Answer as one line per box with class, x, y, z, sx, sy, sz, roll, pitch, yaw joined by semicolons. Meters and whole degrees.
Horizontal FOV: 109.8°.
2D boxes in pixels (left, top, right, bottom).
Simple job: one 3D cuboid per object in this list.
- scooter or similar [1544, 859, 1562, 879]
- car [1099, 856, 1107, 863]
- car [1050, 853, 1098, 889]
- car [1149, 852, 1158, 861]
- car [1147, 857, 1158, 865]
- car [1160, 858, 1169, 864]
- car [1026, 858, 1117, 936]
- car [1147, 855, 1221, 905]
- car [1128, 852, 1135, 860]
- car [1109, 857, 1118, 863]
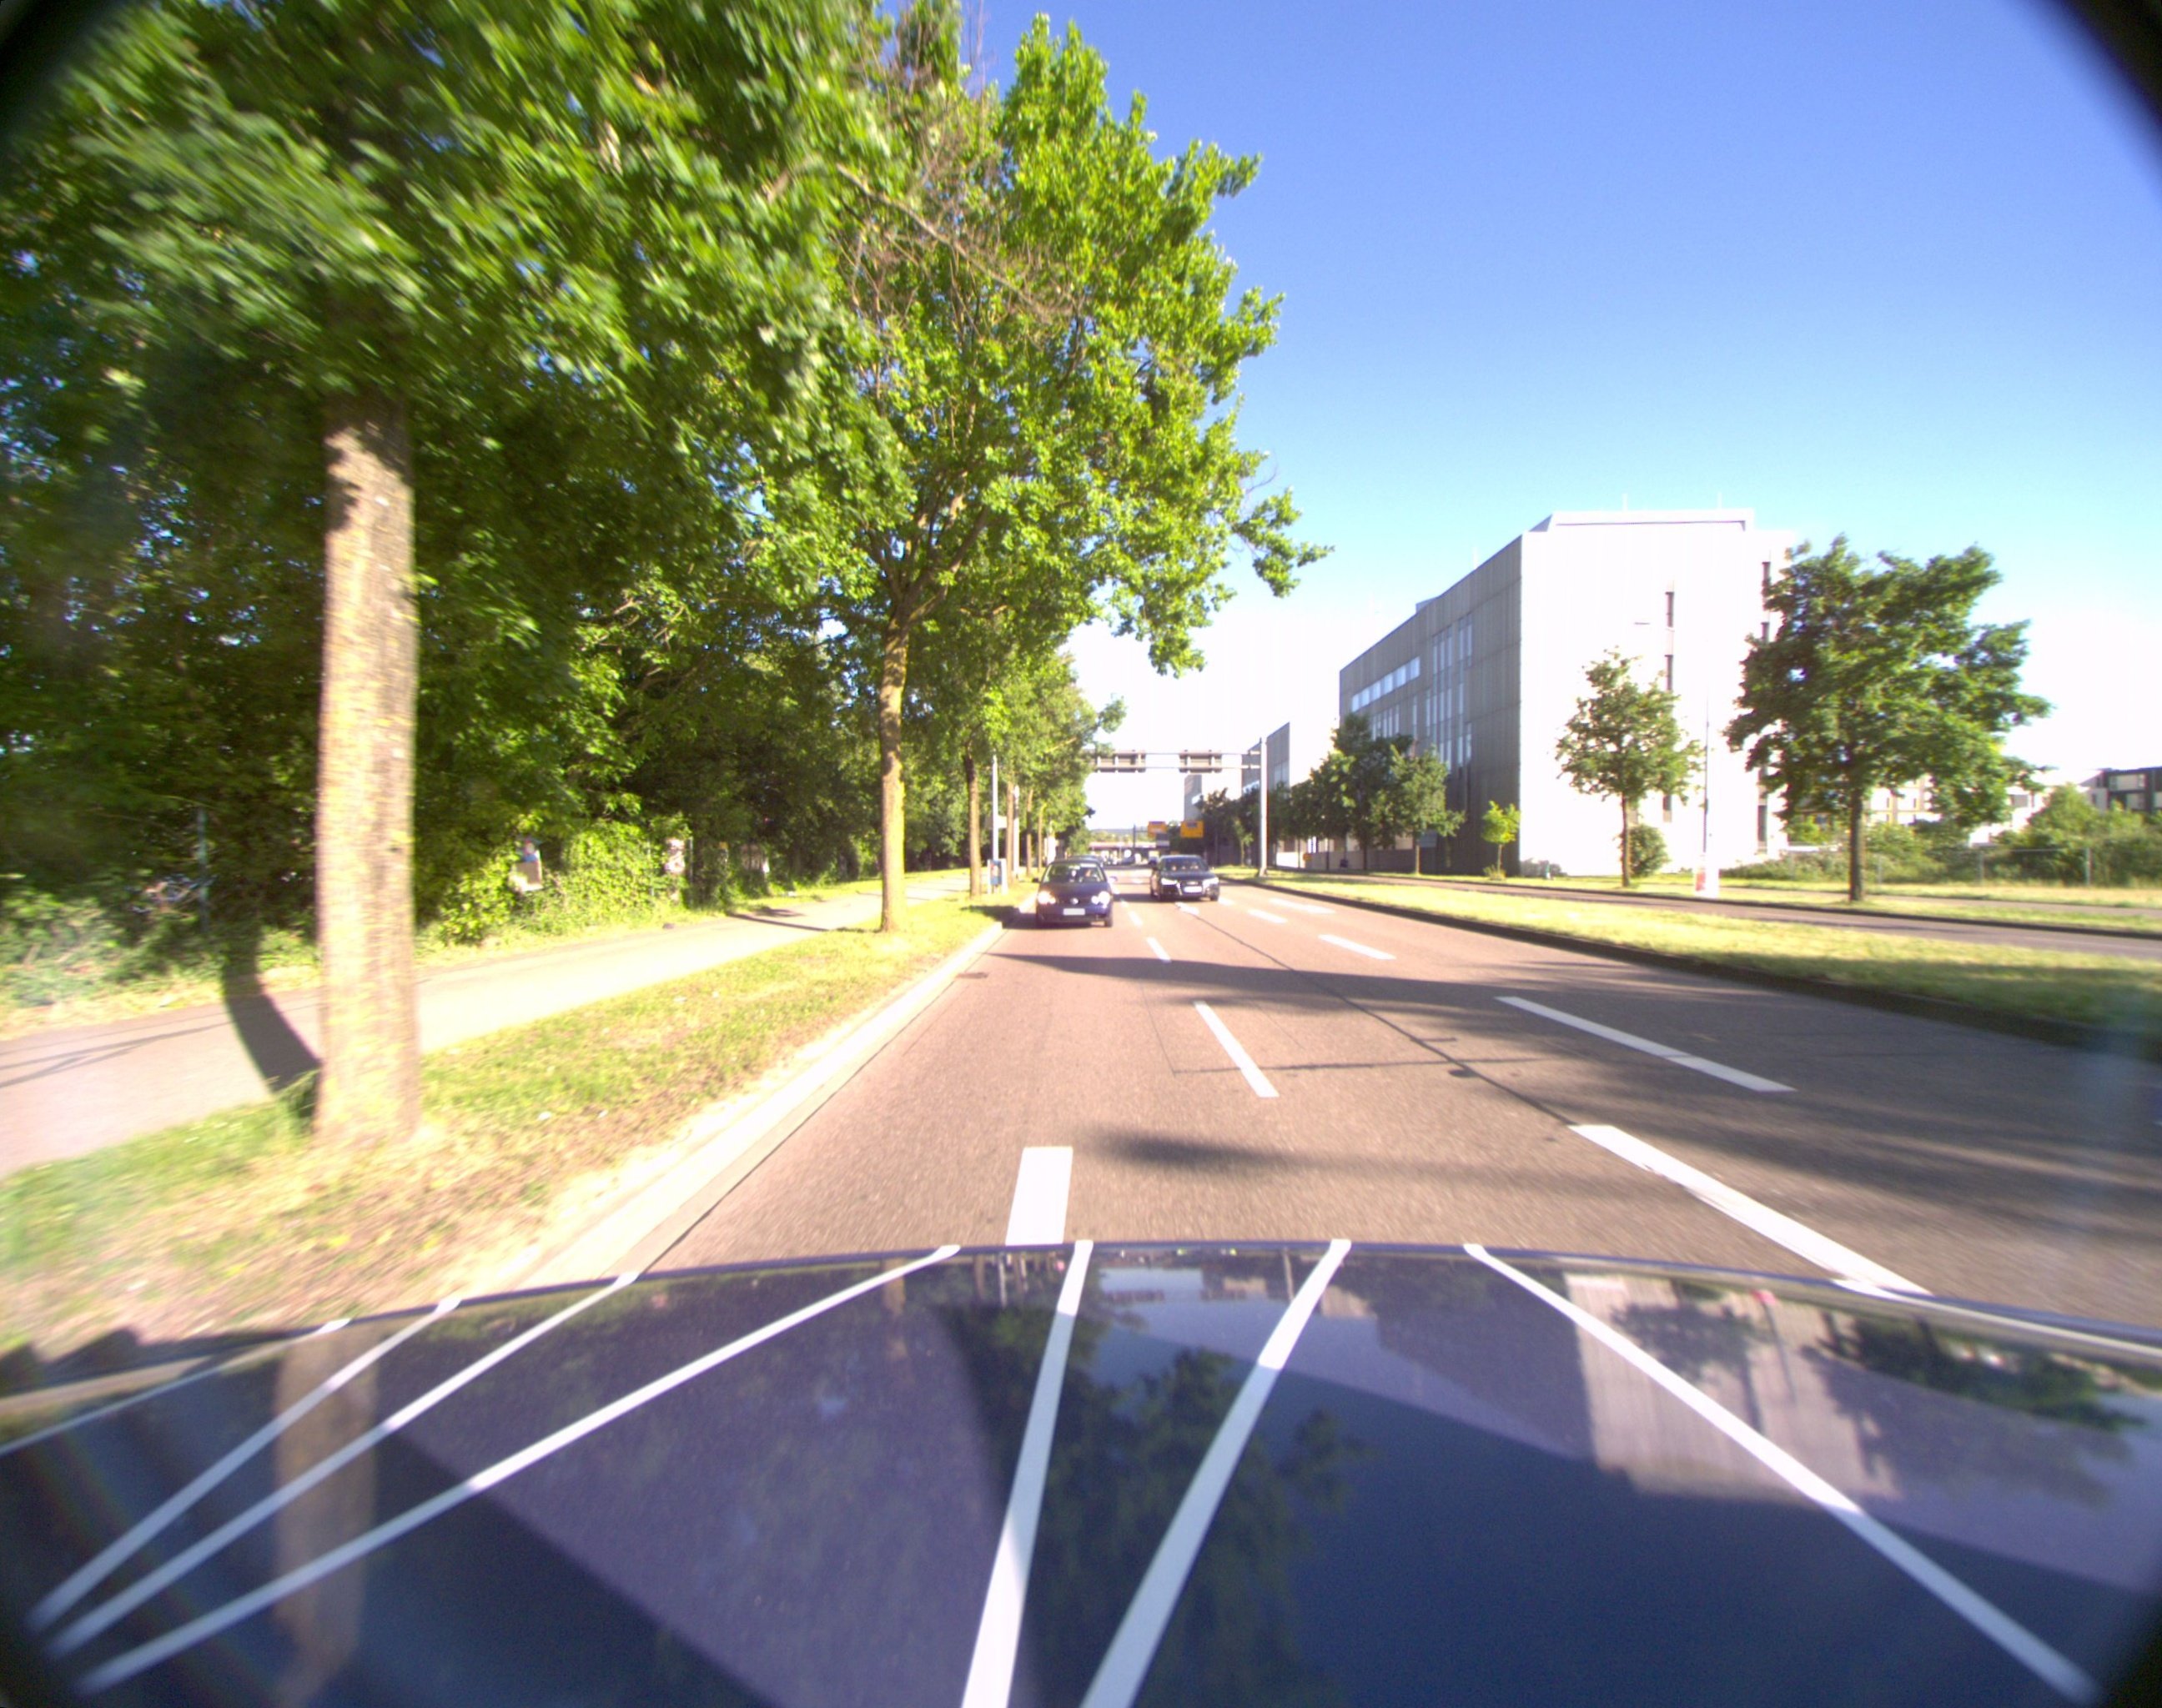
scooter or similar;27.108;0.866;43.682;0.453;1.104;1.408;0;0;14
car;5.616;1.451;192.654;1.998;1.678;4.001;0;0;5
car;-0.273;0.758;35.321;1.756;1.446;4.001;-2;1;6
car;18.348;0.549;193.299;1.998;2.172;4.000;0;0;1
car;14.965;1.429;158.914;1.998;1.569;4.000;0;0;1
car;21.904;1.814;198.521;1.998;1.582;4.000;0;0;1
car;-0.084;0.882;17.638;1.636;1.459;4.547;-2;1;5
car;3.274;0.780;25.028;1.797;1.435;5.017;-1;0;1
car;16.301;0.552;246.148;1.998;2.468;4.571;0;0;1
car;8.356;1.540;195.067;1.998;1.678;4.001;0;0;5
